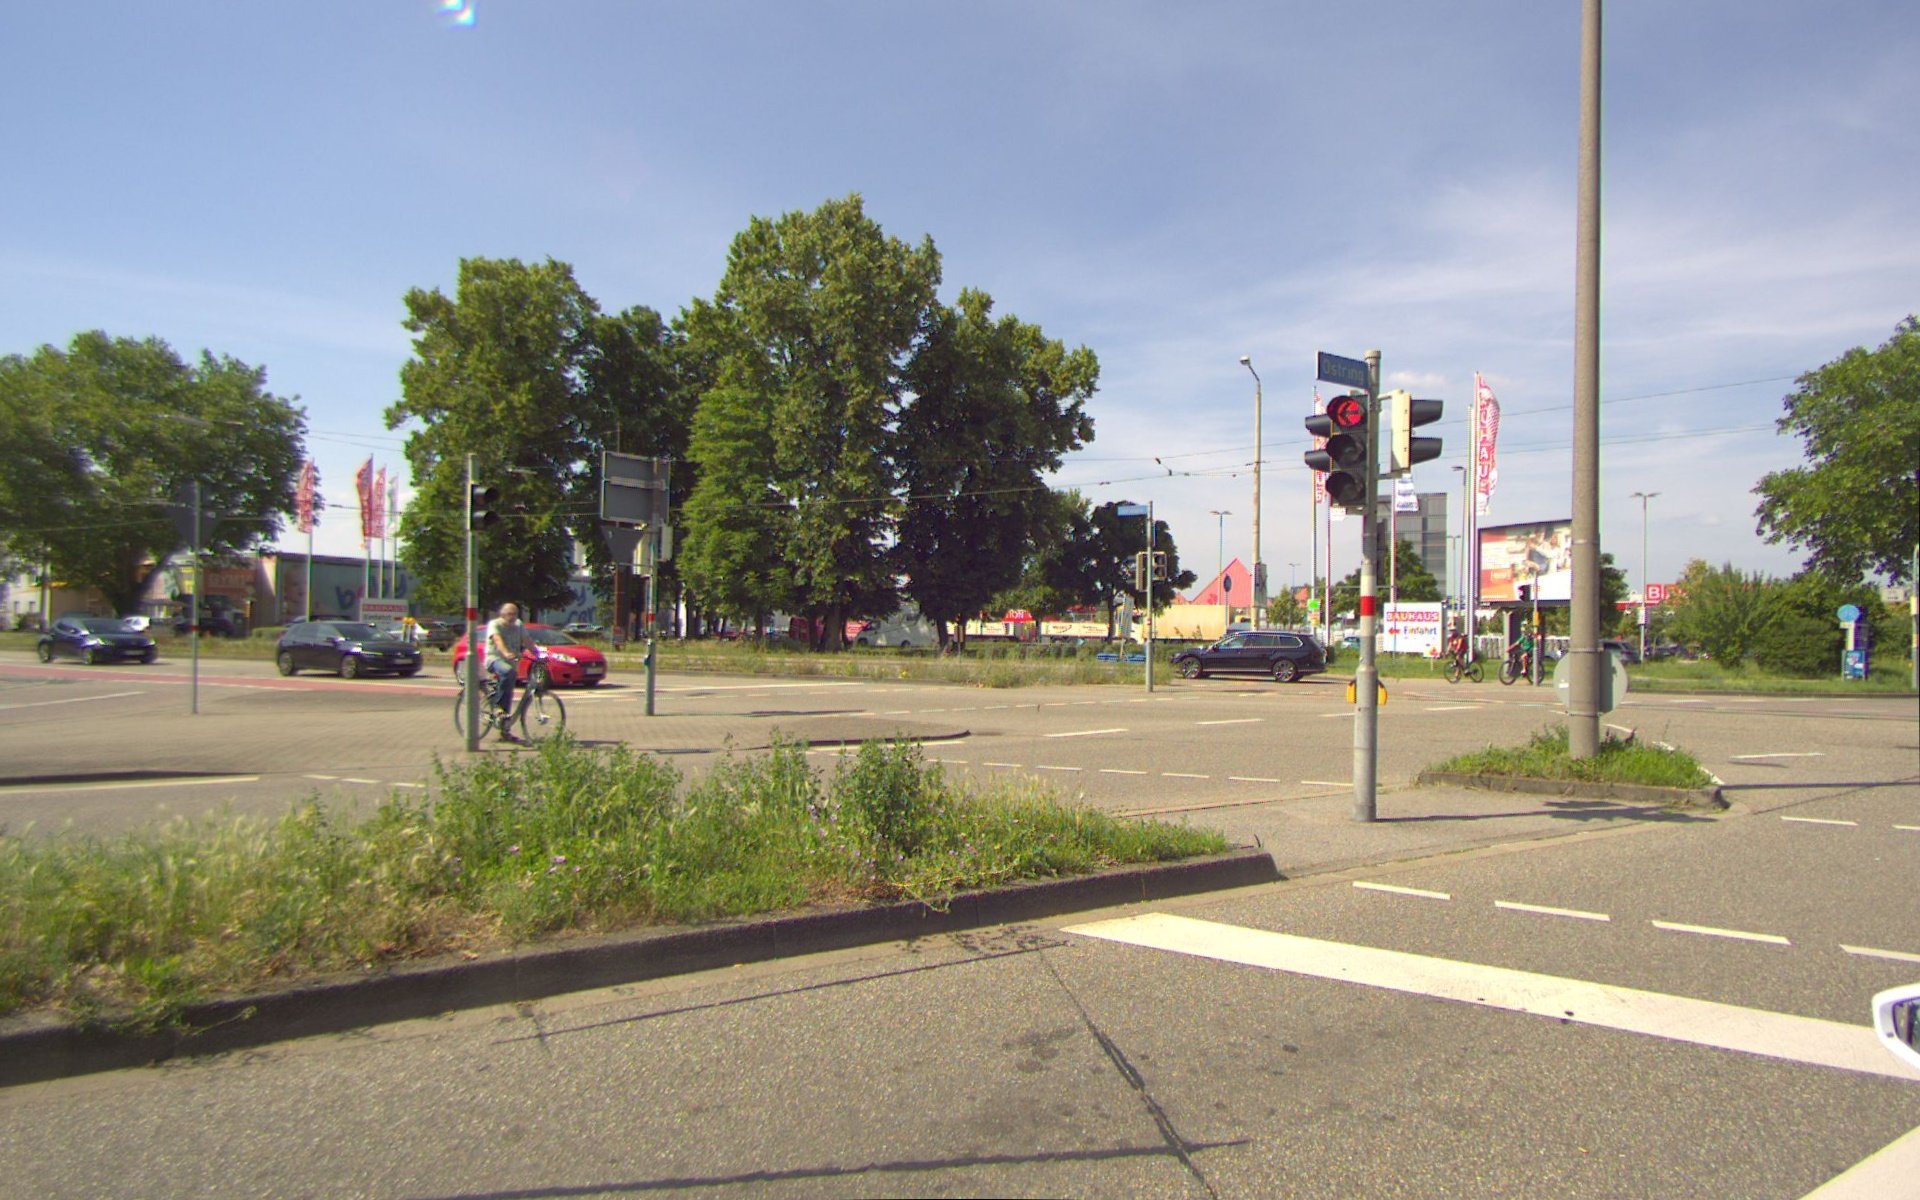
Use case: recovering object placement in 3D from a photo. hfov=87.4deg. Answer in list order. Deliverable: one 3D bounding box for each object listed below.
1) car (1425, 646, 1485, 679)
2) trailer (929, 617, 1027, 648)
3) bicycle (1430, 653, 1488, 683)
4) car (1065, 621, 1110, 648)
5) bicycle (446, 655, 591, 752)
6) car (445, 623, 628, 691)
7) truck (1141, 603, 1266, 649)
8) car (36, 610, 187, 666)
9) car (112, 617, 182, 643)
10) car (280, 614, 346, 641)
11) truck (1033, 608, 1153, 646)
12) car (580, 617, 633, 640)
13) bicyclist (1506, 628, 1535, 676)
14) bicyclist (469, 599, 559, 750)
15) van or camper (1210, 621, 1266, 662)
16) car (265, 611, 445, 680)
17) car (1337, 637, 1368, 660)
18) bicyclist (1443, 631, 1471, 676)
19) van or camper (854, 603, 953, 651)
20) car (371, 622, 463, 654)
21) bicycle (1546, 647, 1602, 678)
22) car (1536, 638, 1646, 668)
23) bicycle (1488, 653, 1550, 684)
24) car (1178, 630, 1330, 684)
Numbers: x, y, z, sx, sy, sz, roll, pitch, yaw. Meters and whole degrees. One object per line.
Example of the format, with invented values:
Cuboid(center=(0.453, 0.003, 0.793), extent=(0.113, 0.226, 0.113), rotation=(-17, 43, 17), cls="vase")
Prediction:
Cuboid(center=(26.354, 3.311, 53.606), extent=(2.157, 1.593, 4.579), rotation=(0, -2, 17), cls="car")
Cuboid(center=(1.584, 2.806, 87.426), extent=(8.057, 2.523, 2.924), rotation=(0, -2, 26), cls="trailer")
Cuboid(center=(15.996, 2.176, 32.204), extent=(1.719, 0.950, 0.434), rotation=(1, -1, -8), cls="bicycle")
Cuboid(center=(12.527, 3.382, 98.441), extent=(2.344, 2.562, 6.118), rotation=(0, -2, 28), cls="car")
Cuboid(center=(-5.554, 1.260, 12.573), extent=(2.128, 1.078, 0.524), rotation=(0, -2, 31), cls="bicycle")
Cuboid(center=(-10.055, 1.308, 23.856), extent=(3.924, 1.468, 1.846), rotation=(0, -2, 25), cls="car")
Cuboid(center=(18.461, 1.920, 76.200), extent=(8.753, 3.355, 3.159), rotation=(0, -2, 23), cls="truck")
Cuboid(center=(-27.517, 1.200, 32.612), extent=(3.921, 1.721, 2.000), rotation=(0, -2, 19), cls="car")
Cuboid(center=(-47.286, 1.738, 58.402), extent=(3.788, 1.446, 1.698), rotation=(0, -2, 26), cls="car")
Cuboid(center=(-50.429, 2.176, 78.324), extent=(1.971, 2.040, 3.979), rotation=(0, -2, 41), cls="car")
Cuboid(center=(10.971, 2.213, 83.220), extent=(9.431, 2.930, 2.925), rotation=(0, -2, 24), cls="truck")
Cuboid(center=(-35.973, 2.920, 102.425), extent=(2.112, 2.308, 5.037), rotation=(0, -2, 26), cls="car")
Cuboid(center=(17.697, 1.630, 31.705), extent=(0.599, 1.511, 0.528), rotation=(1, -1, -15), cls="bicyclist")
Cuboid(center=(-5.590, 0.909, 12.599), extent=(0.754, 1.812, 0.704), rotation=(0, -1, 31), cls="bicyclist")
Cuboid(center=(16.174, 2.387, 58.168), extent=(2.155, 2.239, 5.513), rotation=(0, -2, 26), cls="van or camper")
Cuboid(center=(-16.093, 1.176, 26.763), extent=(3.920, 1.721, 2.001), rotation=(0, -2, 18), cls="car")
Cuboid(center=(27.901, 3.413, 71.335), extent=(1.787, 1.593, 4.278), rotation=(0, -2, 24), cls="car")
Cuboid(center=(15.963, 1.708, 32.251), extent=(0.598, 1.432, 0.529), rotation=(1, -1, -7), cls="bicyclist")
Cuboid(center=(-3.903, 1.823, 68.785), extent=(6.207, 3.141, 2.709), rotation=(1, -1, 26), cls="van or camper")
Cuboid(center=(-25.770, 1.802, 47.626), extent=(4.380, 1.430, 1.638), rotation=(0, -2, 27), cls="car")
Cuboid(center=(21.568, 2.195, 35.274), extent=(1.864, 1.051, 0.594), rotation=(1, -1, -16), cls="bicycle")
Cuboid(center=(33.630, 2.811, 53.596), extent=(2.180, 1.432, 4.529), rotation=(2, -2, -37), cls="car")
Cuboid(center=(17.642, 2.168, 31.685), extent=(1.963, 0.950, 0.416), rotation=(1, -1, -14), cls="bicycle")
Cuboid(center=(8.835, 1.667, 30.215), extent=(4.143, 1.462, 1.788), rotation=(0, -2, 26), cls="car")
